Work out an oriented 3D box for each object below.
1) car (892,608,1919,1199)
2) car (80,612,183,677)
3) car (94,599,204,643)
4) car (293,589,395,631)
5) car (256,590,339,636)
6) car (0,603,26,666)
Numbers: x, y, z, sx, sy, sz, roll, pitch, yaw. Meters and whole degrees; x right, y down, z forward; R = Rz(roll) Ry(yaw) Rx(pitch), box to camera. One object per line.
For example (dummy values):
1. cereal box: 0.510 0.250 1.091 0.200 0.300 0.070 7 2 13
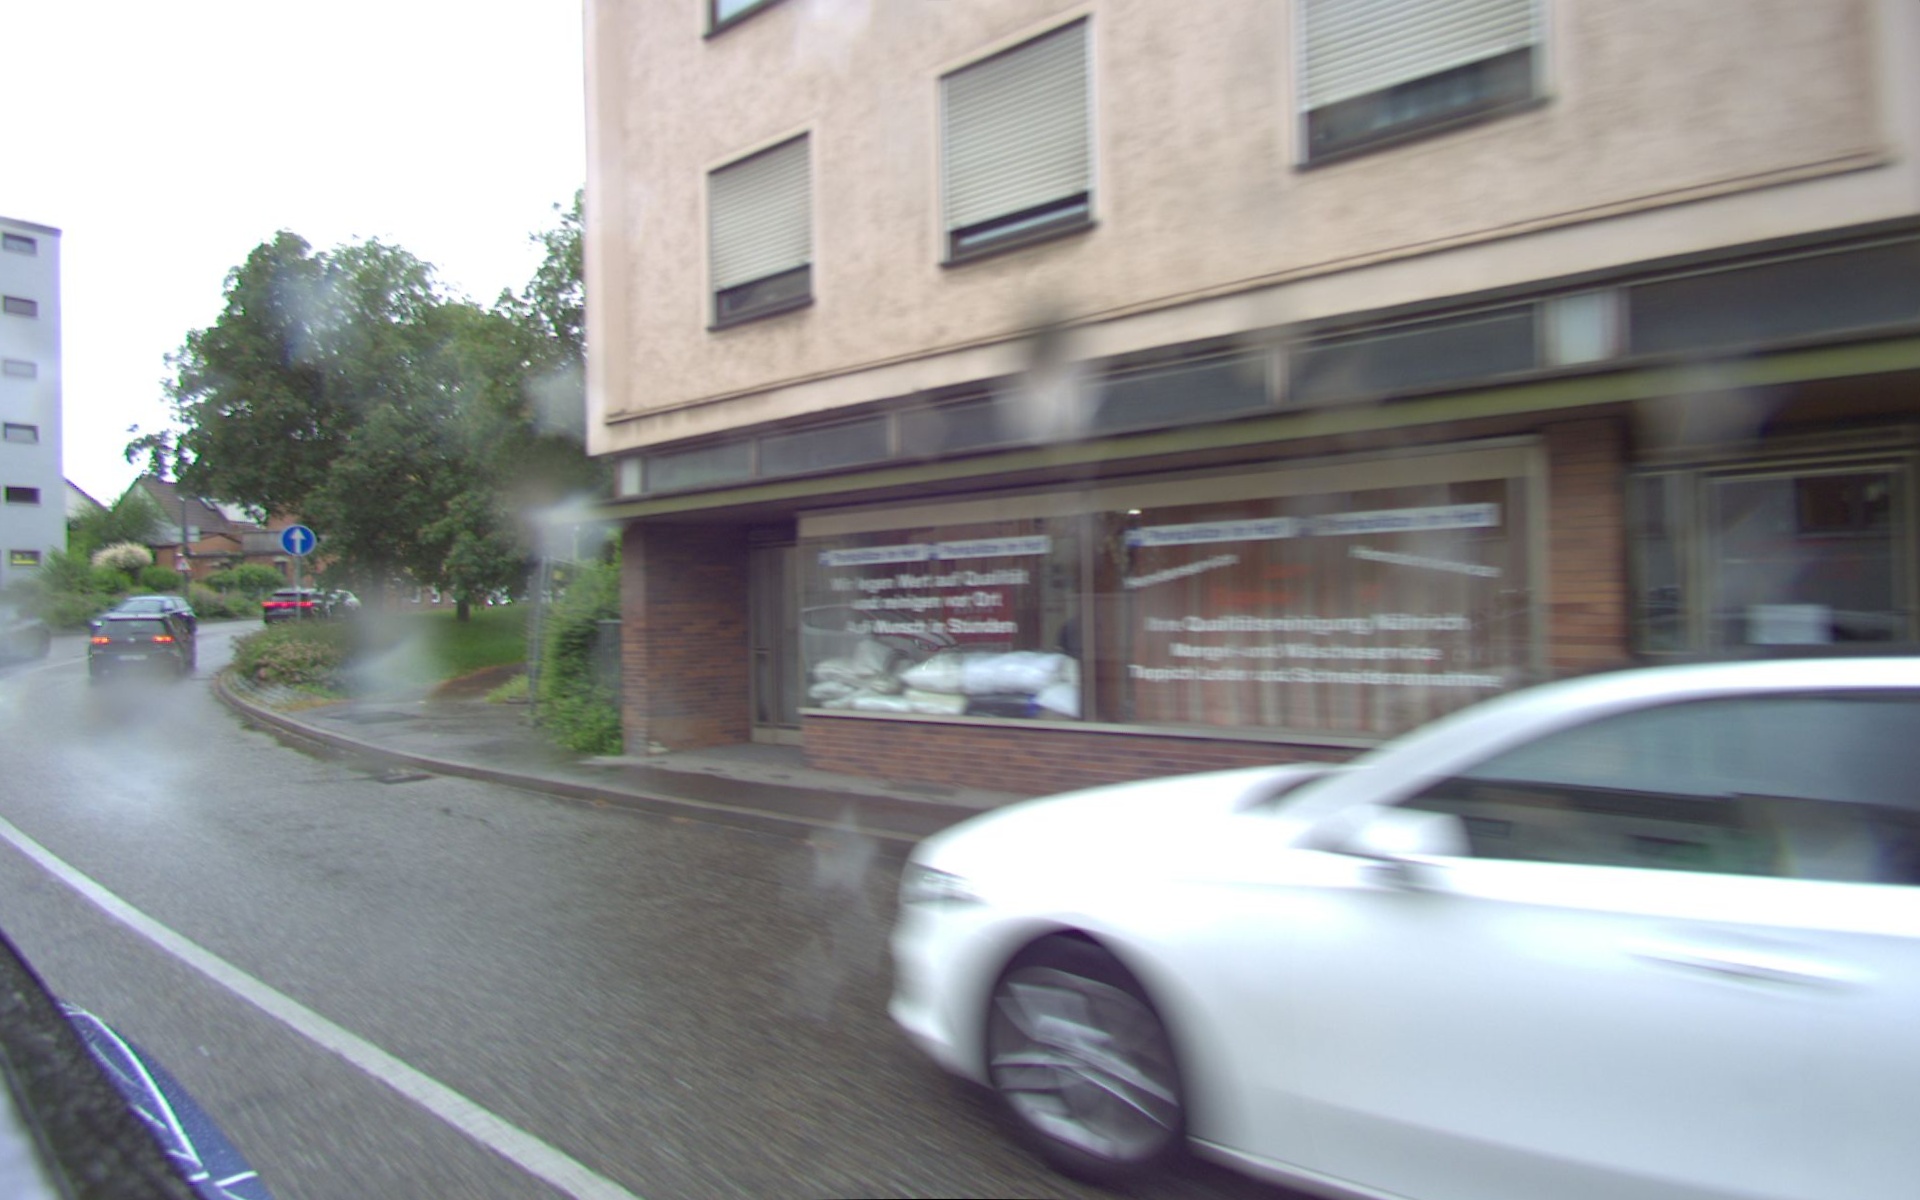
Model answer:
1. car: 1.950 0.723 2.335 4.105 1.383 1.675 -3 -3 37
2. car: -19.972 1.020 24.536 1.747 1.412 3.928 1 -1 -37
3. car: -28.161 0.687 35.326 1.760 1.357 4.961 -2 0 -24
4. car: -31.120 0.558 51.347 1.878 1.672 4.936 -2 -5 5
5. car: -26.008 0.465 39.872 1.867 1.607 4.370 2 1 -22
6. car: -25.222 0.862 25.944 1.812 1.525 4.852 -2 1 -43
